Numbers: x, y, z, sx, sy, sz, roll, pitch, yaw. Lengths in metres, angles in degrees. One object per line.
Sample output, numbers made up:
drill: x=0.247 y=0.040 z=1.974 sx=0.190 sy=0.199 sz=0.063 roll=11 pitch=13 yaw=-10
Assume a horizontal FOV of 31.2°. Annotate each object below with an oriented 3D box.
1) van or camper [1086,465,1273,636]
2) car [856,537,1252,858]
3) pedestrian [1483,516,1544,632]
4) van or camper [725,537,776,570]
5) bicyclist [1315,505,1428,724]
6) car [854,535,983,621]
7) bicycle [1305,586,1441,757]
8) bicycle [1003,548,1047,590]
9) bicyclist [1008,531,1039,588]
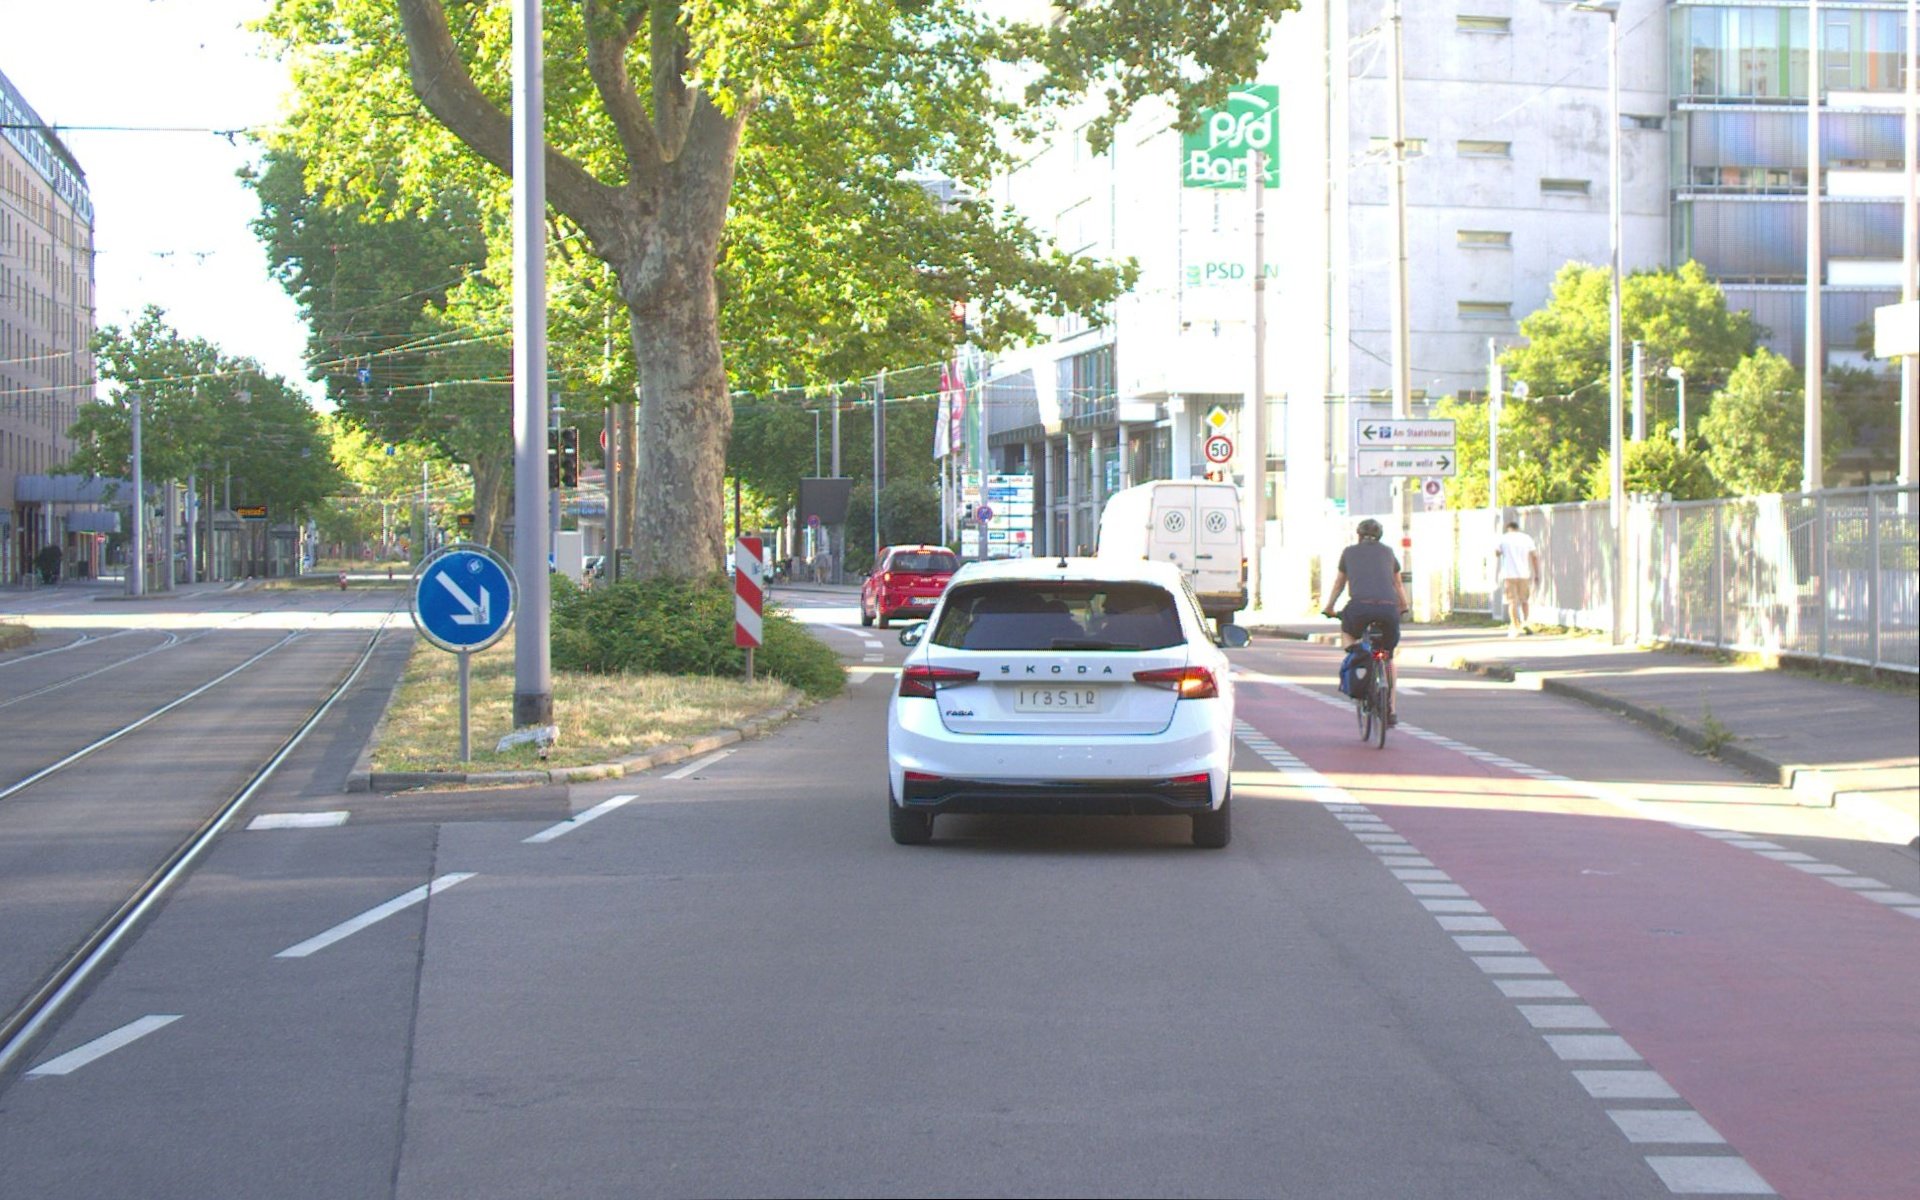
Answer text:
van or camper: x=3.714 y=-0.865 z=59.481 sx=2.268 sy=2.724 sz=6.348 roll=2 pitch=1 yaw=-4
car: x=0.609 y=0.431 z=18.333 sx=1.802 sy=1.496 sz=3.980 roll=1 pitch=1 yaw=6
pedestrian: x=8.434 y=-0.396 z=52.410 sx=0.786 sy=1.742 sz=0.772 roll=-1 pitch=1 yaw=0
van or camper: x=-11.391 y=-2.538 z=186.869 sx=2.145 sy=1.744 sz=4.433 roll=-1 pitch=1 yaw=-11
bicyclist: x=3.211 y=0.105 z=26.853 sx=0.743 sy=1.663 sz=0.745 roll=2 pitch=1 yaw=0
car: x=-0.777 y=-0.420 z=61.644 sx=1.839 sy=1.484 sz=3.717 roll=0 pitch=1 yaw=-8
bicycle: x=3.199 y=0.534 z=26.825 sx=0.744 sy=1.220 sz=2.156 roll=2 pitch=1 yaw=-1
bicycle: x=1.875 y=-0.903 z=99.332 sx=0.792 sy=1.157 sz=2.500 roll=0 pitch=1 yaw=-10
bicyclist: x=1.844 y=-1.167 z=99.506 sx=0.785 sy=1.629 sz=0.639 roll=0 pitch=1 yaw=-10
